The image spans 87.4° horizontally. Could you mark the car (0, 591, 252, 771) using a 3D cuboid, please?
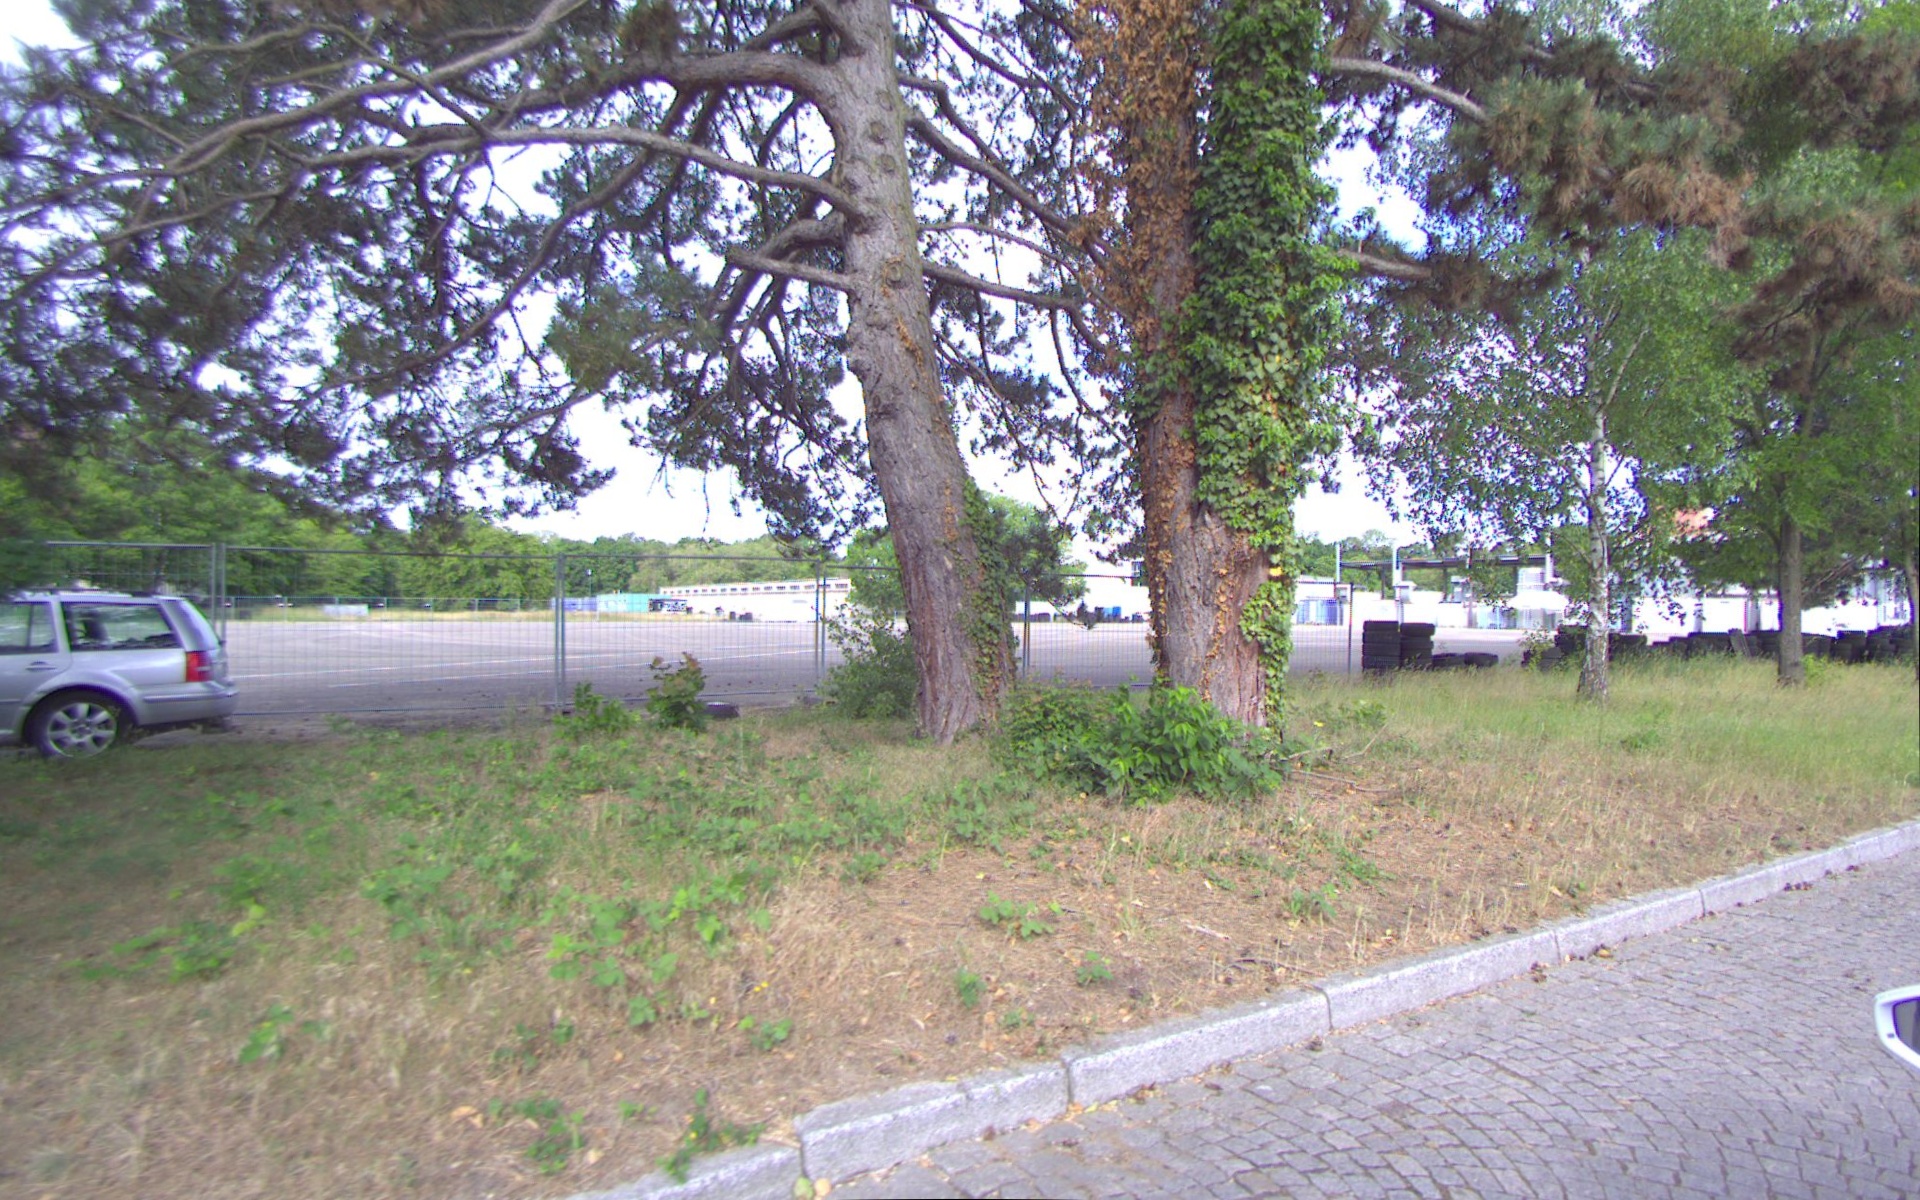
[{"bbox_3d":[-8.284,0.639,8.488,3.685,1.429,1.655,1,0,-34],"label":"car"}]
